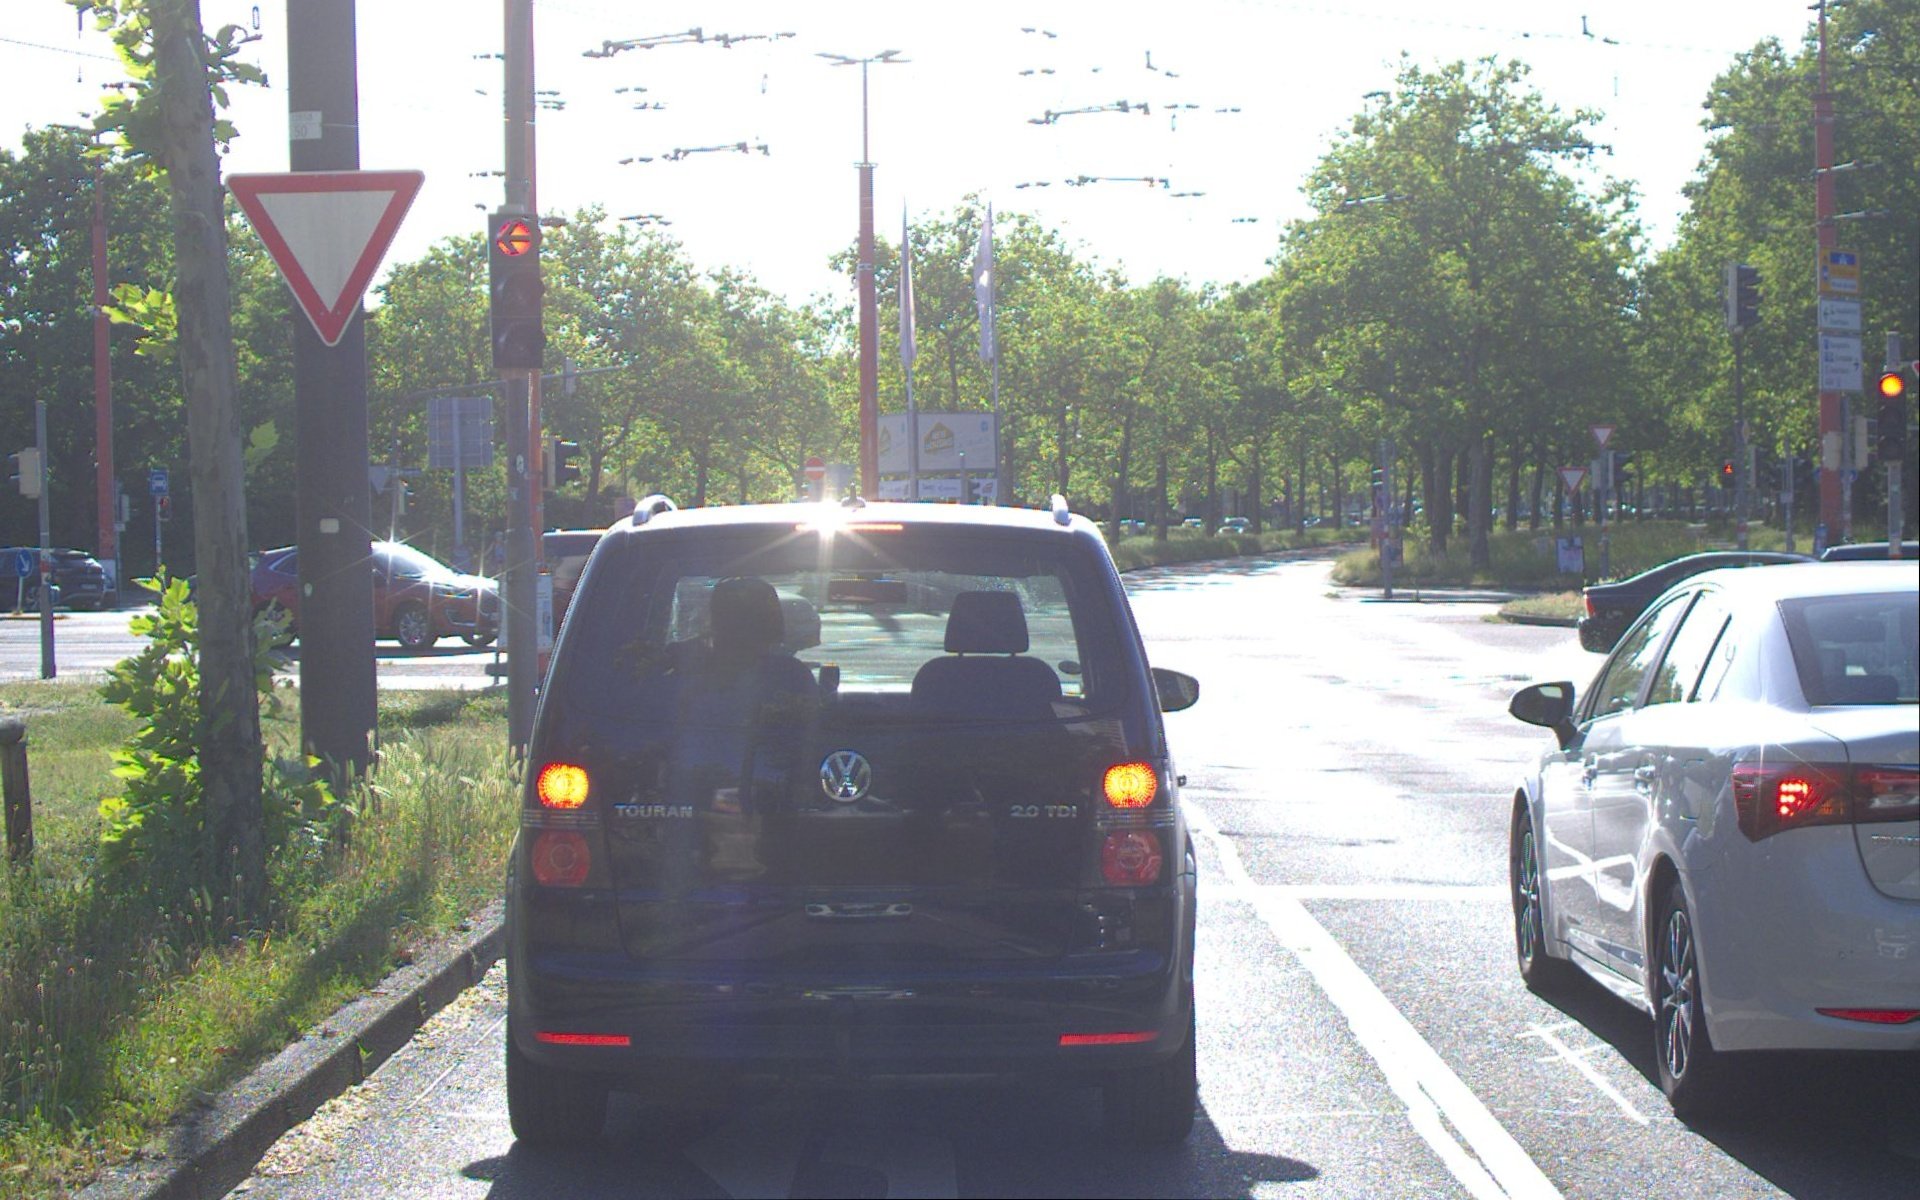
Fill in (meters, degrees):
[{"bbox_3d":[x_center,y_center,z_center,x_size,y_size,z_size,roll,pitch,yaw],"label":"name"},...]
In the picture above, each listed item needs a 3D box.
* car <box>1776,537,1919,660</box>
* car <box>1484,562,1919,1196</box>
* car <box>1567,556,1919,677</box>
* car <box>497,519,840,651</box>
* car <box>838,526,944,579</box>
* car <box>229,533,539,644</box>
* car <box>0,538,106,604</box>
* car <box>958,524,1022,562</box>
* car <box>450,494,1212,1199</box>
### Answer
[{"bbox_3d":[12.314,-0.032,42.010,4.226,1.474,1.751,0,1,30],"label":"car"},{"bbox_3d":[2.688,0.629,10.086,1.715,1.449,4.144,0,1,1],"label":"car"},{"bbox_3d":[9.320,0.167,39.447,4.311,1.322,1.759,0,1,29],"label":"car"},{"bbox_3d":[-3.985,-0.223,46.812,4.350,1.726,1.840,0,1,28],"label":"car"},{"bbox_3d":[-2.205,-1.561,111.637,1.995,1.679,4.825,0,1,17],"label":"car"},{"bbox_3d":[-8.933,-0.197,53.263,4.557,1.662,1.840,0,1,28],"label":"car"},{"bbox_3d":[-23.573,-0.728,85.168,4.459,1.590,1.997,0,1,26],"label":"car"},{"bbox_3d":[1.345,-2.539,153.092,1.994,1.679,4.826,0,1,11],"label":"car"},{"bbox_3d":[-0.316,0.546,9.885,1.737,1.635,4.000,0,1,-1],"label":"car"}]
